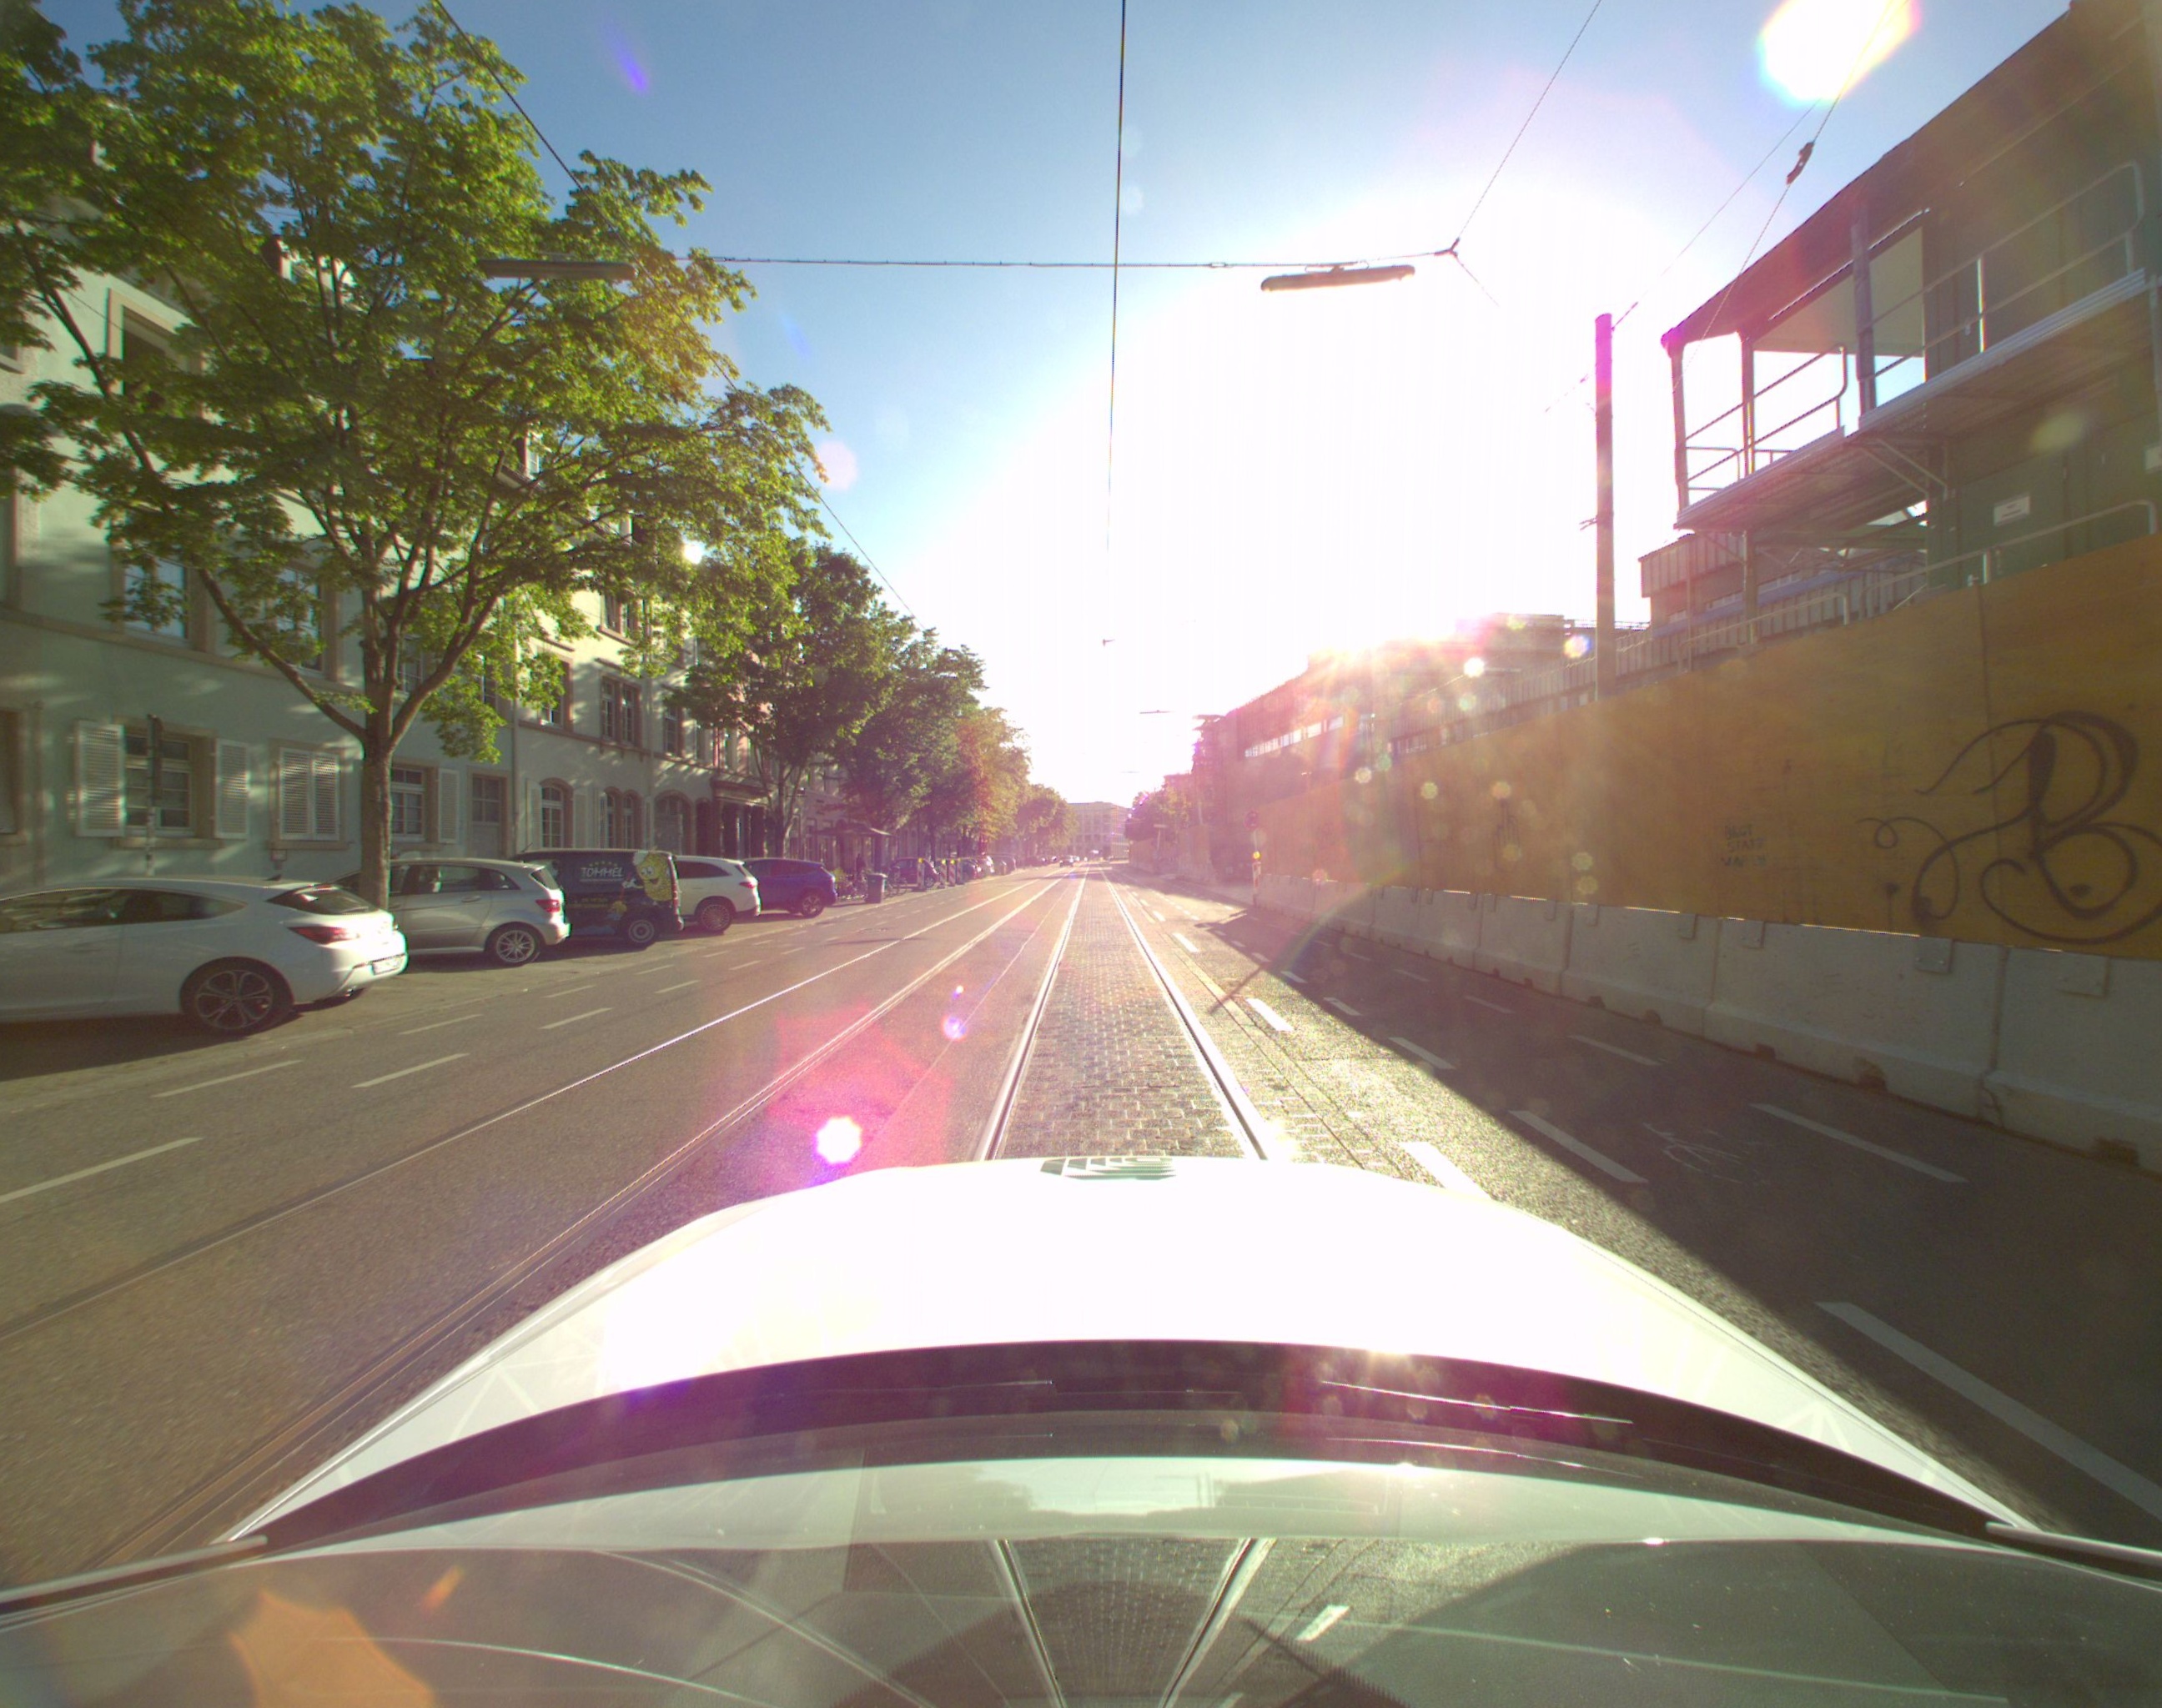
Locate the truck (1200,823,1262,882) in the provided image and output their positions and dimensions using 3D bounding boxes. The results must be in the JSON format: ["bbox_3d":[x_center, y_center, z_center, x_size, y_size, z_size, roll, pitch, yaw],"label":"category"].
[{"bbox_3d":[8.260,-0.071,45.416,2.510,2.909,5.510,-4,0,2],"label":"truck"}]

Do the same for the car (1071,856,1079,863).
[{"bbox_3d":[-1.294,1.193,175.300,1.703,1.436,4.171,-1,0,0],"label":"car"}]

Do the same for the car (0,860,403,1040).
[{"bbox_3d":[-9.414,0.865,8.065,3.647,1.530,1.874,2,-1,-19],"label":"car"}]

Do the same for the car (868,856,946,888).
[{"bbox_3d":[-8.978,0.918,41.964,3.631,1.553,1.655,1,1,-26],"label":"car"}]

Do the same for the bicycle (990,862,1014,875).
[{"bbox_3d":[-6.808,1.248,70.151,1.970,1.144,0.490,1,-1,-18],"label":"bicycle"}]

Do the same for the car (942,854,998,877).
[{"bbox_3d":[-8.632,0.881,63.447,4.093,1.678,1.840,1,0,-2],"label":"car"}]

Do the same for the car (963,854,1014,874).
[{"bbox_3d":[-8.462,0.922,74.519,4.250,1.685,1.798,-1,0,-20],"label":"car"}]

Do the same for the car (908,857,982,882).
[{"bbox_3d":[-8.614,0.988,51.633,4.211,1.491,1.927,1,0,-26],"label":"car"}]

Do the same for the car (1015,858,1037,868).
[{"bbox_3d":[-8.045,1.273,119.446,2.950,1.332,1.205,-2,0,-27],"label":"car"}]

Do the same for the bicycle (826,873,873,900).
[{"bbox_3d":[-8.495,1.185,29.901,1.599,0.988,0.387,1,0,-10],"label":"bicycle"}]

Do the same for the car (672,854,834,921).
[{"bbox_3d":[-9.111,0.877,22.737,3.920,1.609,1.556,-2,0,-36],"label":"car"}]

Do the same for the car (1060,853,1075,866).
[{"bbox_3d":[-1.877,0.735,115.036,1.920,1.629,4.251,-4,1,2],"label":"car"}]

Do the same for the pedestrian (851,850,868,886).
[{"bbox_3d":[-12.412,0.785,45.644,0.728,2.013,0.557,-1,0,2],"label":"pedestrian"}]

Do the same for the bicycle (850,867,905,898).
[{"bbox_3d":[-8.211,1.148,32.908,1.994,1.087,0.568,3,0,3],"label":"bicycle"}]

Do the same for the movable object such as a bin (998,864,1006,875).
[{"bbox_3d":[-6.695,1.310,69.348,0.576,0.913,0.572,1,0,-15],"label":"movable object such as a bin"}]

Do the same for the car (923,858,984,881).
[{"bbox_3d":[-8.475,1.014,54.211,3.693,1.470,1.737,1,-1,-28],"label":"car"}]

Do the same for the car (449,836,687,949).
[{"bbox_3d":[-9.258,0.717,14.956,3.457,1.843,1.716,3,-3,-31],"label":"car"}]

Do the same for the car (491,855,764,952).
[{"bbox_3d":[-9.790,0.966,17.914,4.957,1.794,2.187,-1,0,-31],"label":"car"}]

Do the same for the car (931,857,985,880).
[{"bbox_3d":[-8.609,1.017,57.082,3.381,1.493,1.599,1,0,-28],"label":"car"}]

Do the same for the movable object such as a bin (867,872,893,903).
[{"bbox_3d":[-7.238,1.199,29.306,0.681,1.078,0.710,2,0,2],"label":"movable object such as a bin"}]

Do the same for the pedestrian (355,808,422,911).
[{"bbox_3d":[-12.692,0.101,14.941,0.641,1.838,0.625,-1,0,2],"label":"pedestrian"}]

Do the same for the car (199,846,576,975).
[{"bbox_3d":[-10.057,0.771,12.296,4.011,1.656,1.793,2,0,-30],"label":"car"}]

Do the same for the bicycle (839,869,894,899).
[{"bbox_3d":[-8.318,1.161,31.581,1.959,1.079,0.569,2,0,3],"label":"bicycle"}]

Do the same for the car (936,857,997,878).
[{"bbox_3d":[-8.442,0.997,59.983,4.125,1.512,1.825,1,0,-26],"label":"car"}]

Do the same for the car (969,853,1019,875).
[{"bbox_3d":[-8.222,0.926,77.045,4.370,1.986,1.936,1,-1,-21],"label":"car"}]
